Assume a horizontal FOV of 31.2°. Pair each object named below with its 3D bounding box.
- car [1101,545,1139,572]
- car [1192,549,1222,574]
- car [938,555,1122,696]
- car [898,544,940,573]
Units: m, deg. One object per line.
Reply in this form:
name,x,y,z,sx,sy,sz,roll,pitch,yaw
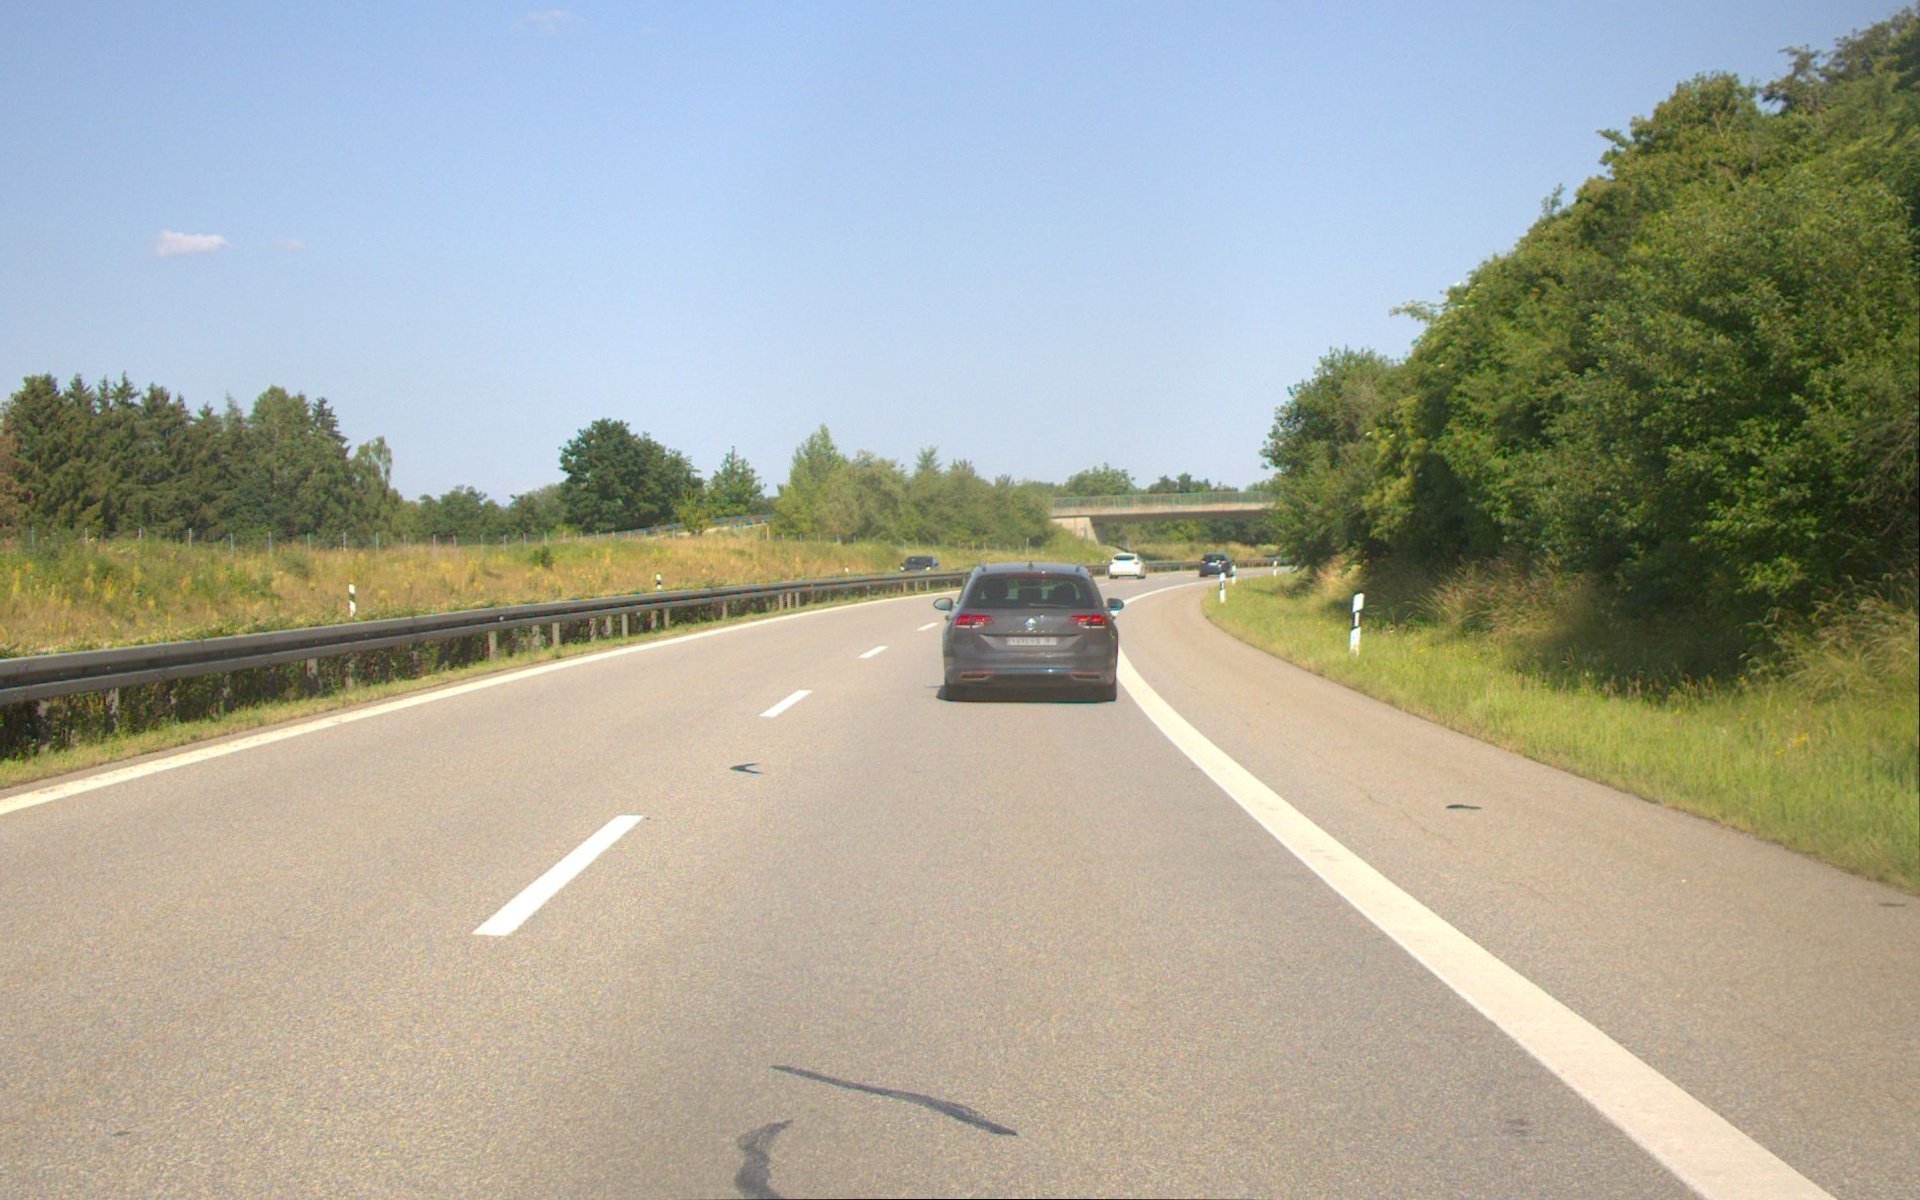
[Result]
car,8.867,-2.281,190.641,2.007,1.340,3.999,2,-1,3
car,14.840,-2.328,206.437,1.711,1.382,3.354,2,-1,5
car,0.782,0.272,36.093,1.791,1.340,3.999,2,-1,3
car,-2.299,-2.316,193.155,1.832,1.547,4.465,0,2,6
